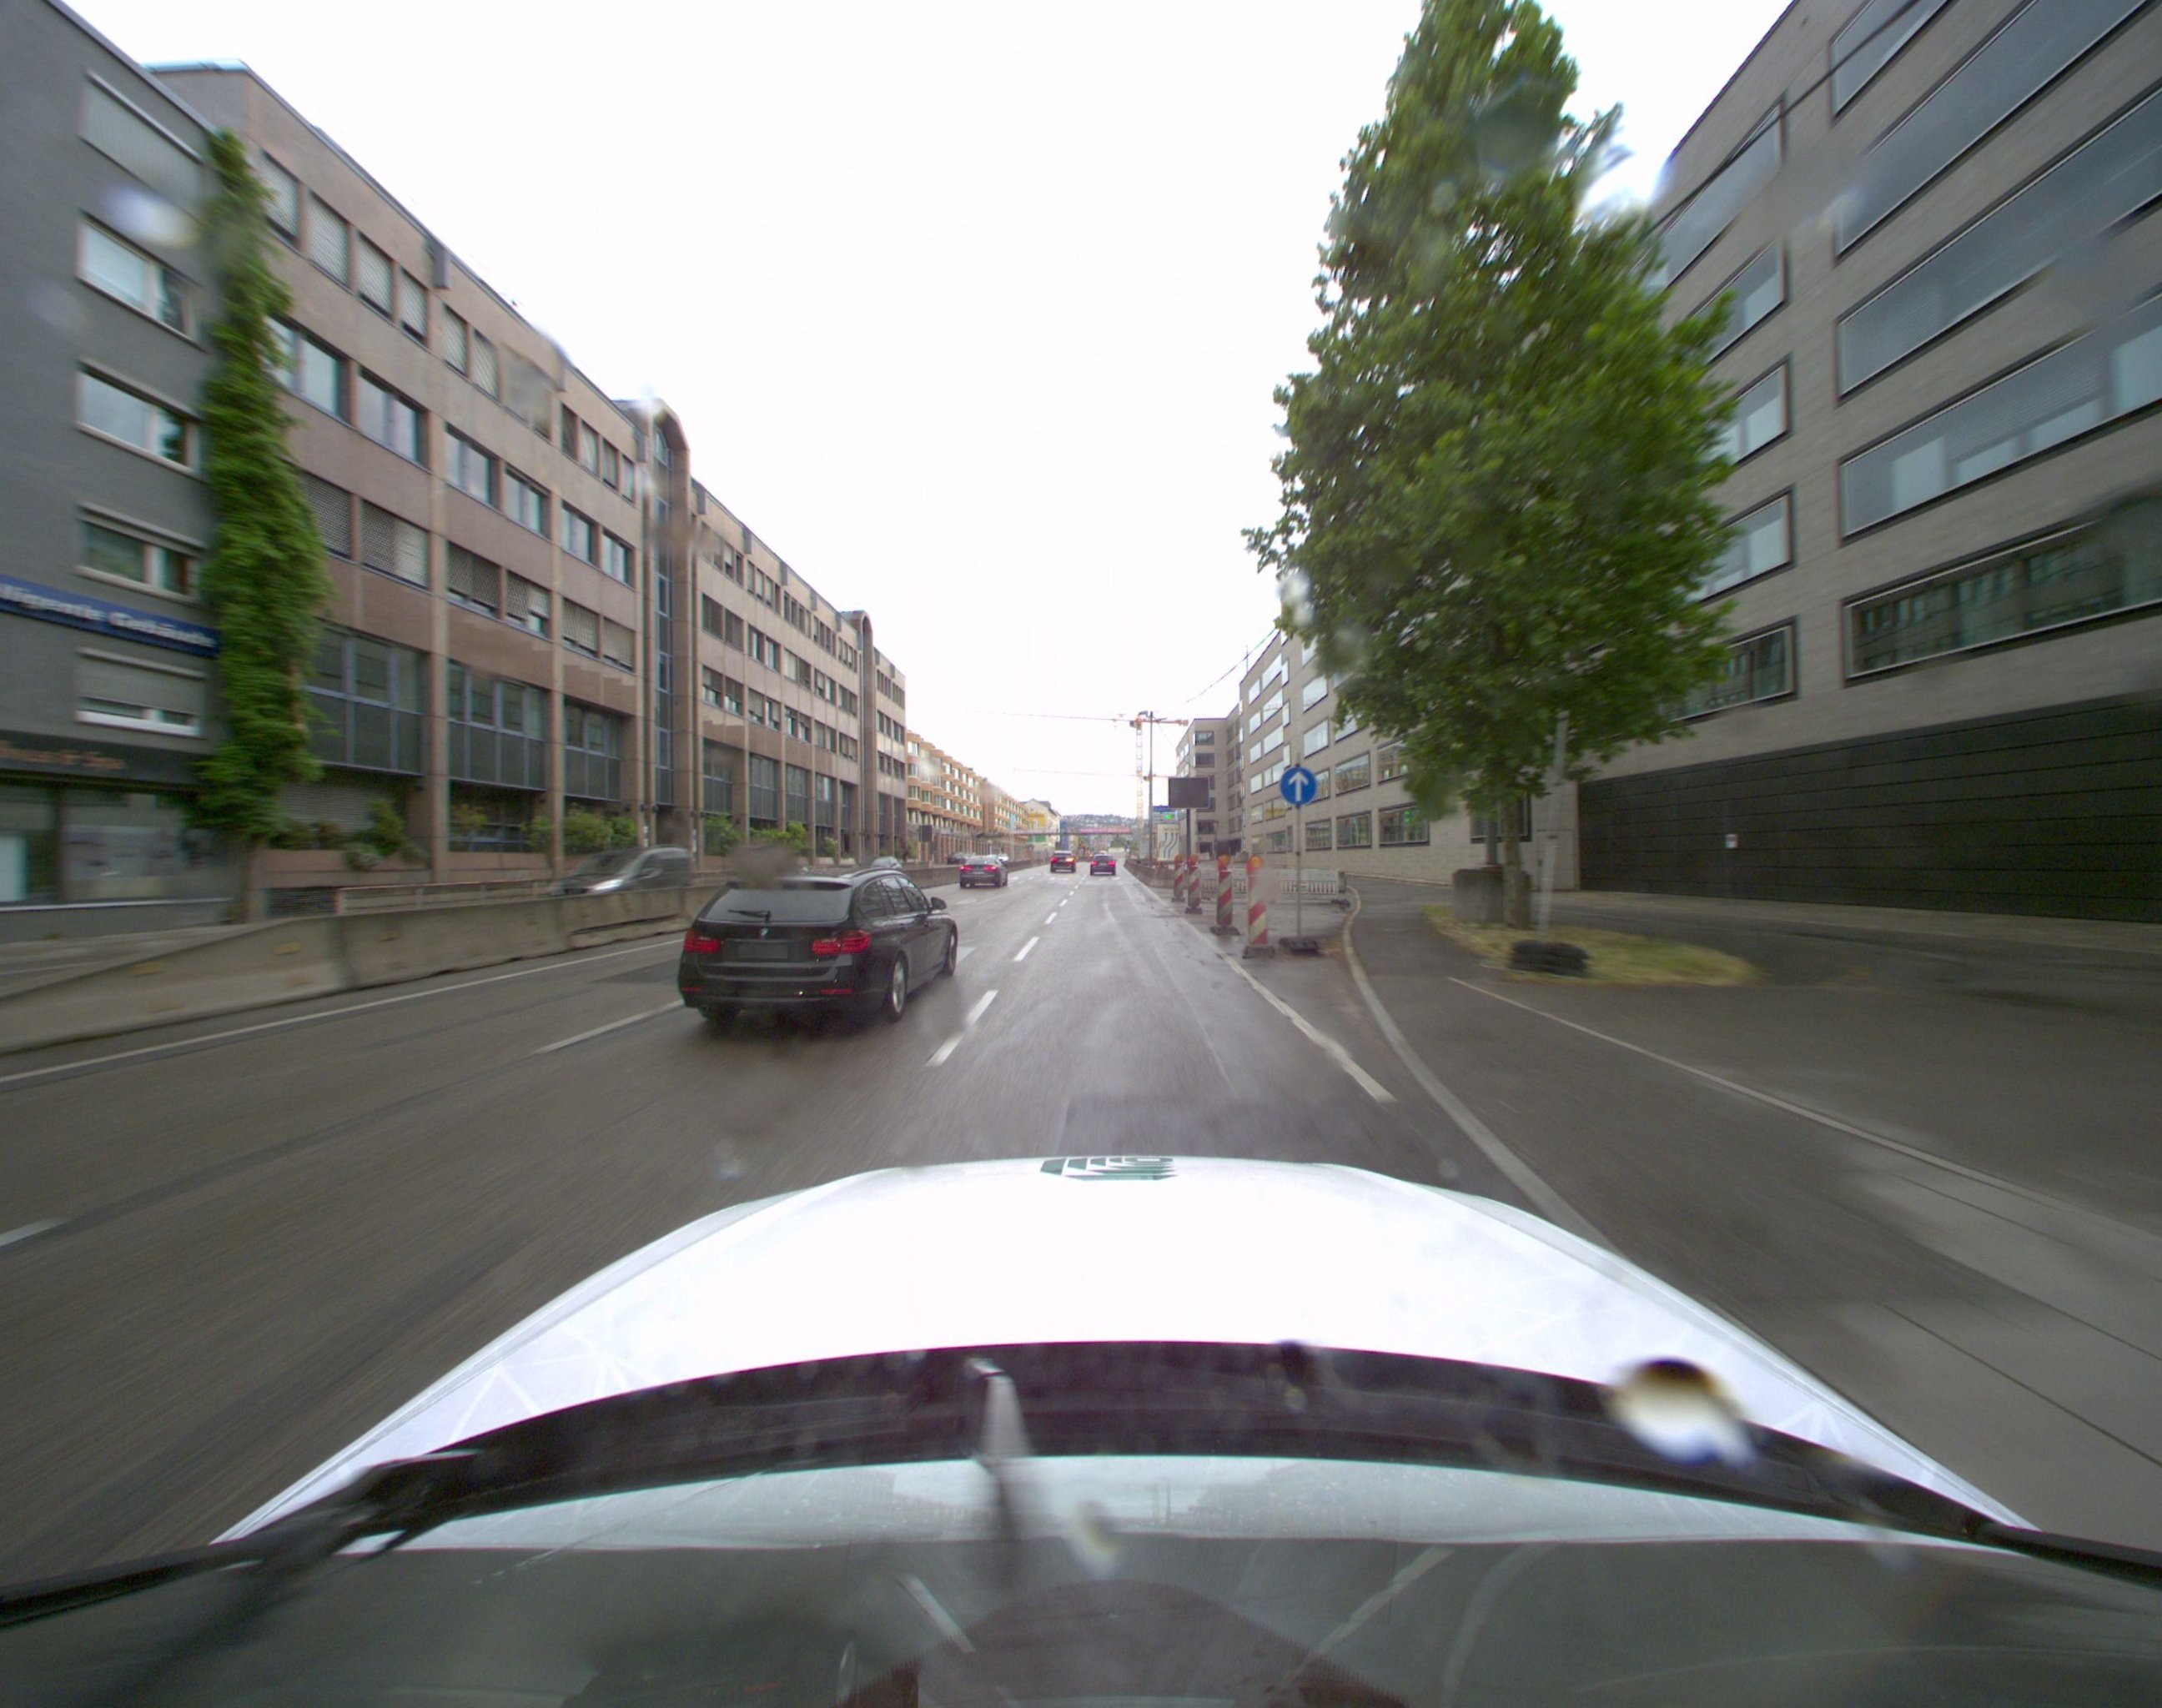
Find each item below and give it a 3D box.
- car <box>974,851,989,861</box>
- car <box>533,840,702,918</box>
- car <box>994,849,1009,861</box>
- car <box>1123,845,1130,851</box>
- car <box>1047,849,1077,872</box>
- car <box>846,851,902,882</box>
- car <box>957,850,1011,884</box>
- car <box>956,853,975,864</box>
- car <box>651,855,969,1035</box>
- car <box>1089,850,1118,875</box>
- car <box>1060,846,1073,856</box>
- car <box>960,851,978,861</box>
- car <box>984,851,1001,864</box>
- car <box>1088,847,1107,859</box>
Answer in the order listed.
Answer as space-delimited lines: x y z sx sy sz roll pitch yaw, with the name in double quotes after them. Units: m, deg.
-17.883 0.368 146.790 1.986 1.620 4.320 -1 0 2 "car"
-11.892 0.588 21.289 1.714 1.770 4.427 -1 0 2 "car"
-12.074 0.115 124.256 1.814 1.618 4.192 -1 2 1 "car"
12.631 -1.719 225.116 1.891 1.693 4.005 -1 0 5 "car"
-1.474 0.472 64.216 1.891 1.693 4.005 -1 0 5 "car"
-11.014 0.646 43.707 1.854 1.533 4.231 -1 0 0 "car"
-4.371 0.563 37.429 1.784 1.426 4.387 -1 0 2 "car"
-17.468 0.657 122.913 1.986 1.620 4.765 -1 0 2 "car"
-2.465 0.728 8.766 1.785 1.426 4.614 0 0 1 "car"
1.648 0.579 57.754 1.892 1.693 4.004 -1 0 4 "car"
-2.599 -0.559 146.395 1.986 1.620 4.766 -1 0 2 "car"
-17.874 0.343 130.025 1.986 1.620 4.320 -1 0 2 "car"
-11.080 0.418 102.139 1.596 1.442 3.659 -1 2 2 "car"
2.533 -0.118 123.763 1.886 1.693 4.015 -1 0 14 "car"
